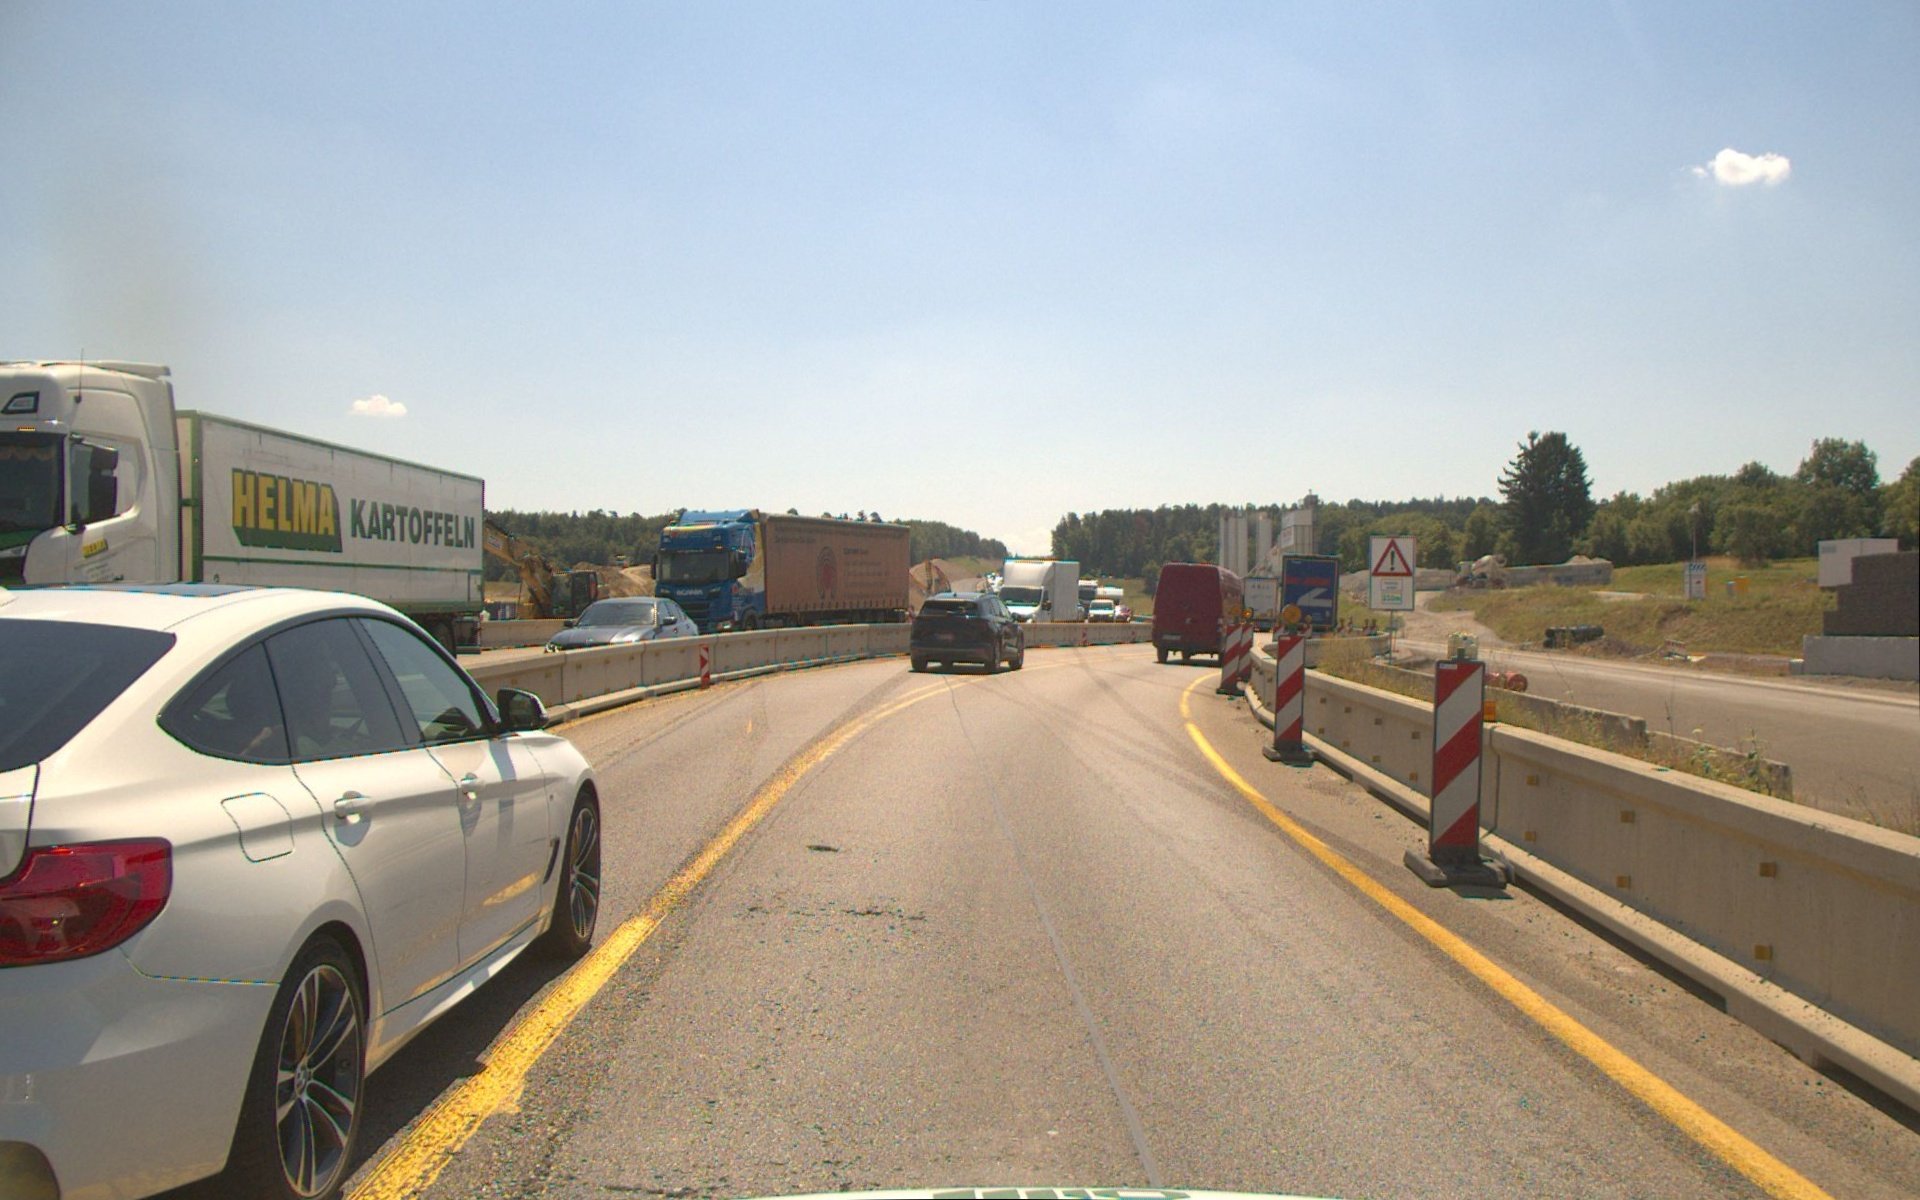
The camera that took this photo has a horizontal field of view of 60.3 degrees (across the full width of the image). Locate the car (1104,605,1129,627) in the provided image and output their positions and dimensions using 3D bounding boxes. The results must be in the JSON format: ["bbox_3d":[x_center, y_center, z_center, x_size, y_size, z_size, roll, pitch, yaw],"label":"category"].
[{"bbox_3d":[12.192,1.235,128.471,1.683,1.656,4.339,1,0,8],"label":"car"}]

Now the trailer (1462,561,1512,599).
[{"bbox_3d":[59.494,-2.255,186.804,2.705,4.186,6.732,1,0,-9],"label":"trailer"}]

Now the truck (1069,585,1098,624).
[{"bbox_3d":[13.208,0.467,176.305,2.644,4.133,5.505,1,0,8],"label":"truck"}]

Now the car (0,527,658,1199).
[{"bbox_3d":[-2.306,0.689,5.124,1.758,1.561,5.073,-1,0,0],"label":"car"}]

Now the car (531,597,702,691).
[{"bbox_3d":[-5.998,0.728,29.428,1.717,1.504,4.539,1,0,5],"label":"car"}]

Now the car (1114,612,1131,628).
[{"bbox_3d":[16.882,2.042,172.054,1.625,1.633,4.399,1,0,7],"label":"car"}]

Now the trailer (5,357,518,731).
[{"bbox_3d":[-9.632,-0.632,25.102,2.305,4.224,12.499,1,0,1],"label":"trailer"}]

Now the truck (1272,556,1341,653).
[{"bbox_3d":[16.124,0.222,77.081,2.951,4.225,8.279,1,0,12],"label":"truck"}]

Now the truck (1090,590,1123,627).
[{"bbox_3d":[12.773,0.712,144.439,2.391,3.125,7.249,1,0,1],"label":"truck"}]

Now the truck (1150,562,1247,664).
[{"bbox_3d":[6.863,0.353,47.057,2.067,2.679,6.489,1,0,14],"label":"truck"}]

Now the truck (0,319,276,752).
[{"bbox_3d":[-9.746,-0.621,18.093,2.398,4.078,5.076,1,0,-1],"label":"truck"}]

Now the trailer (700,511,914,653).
[{"bbox_3d":[-4.779,-0.527,55.910,2.532,4.224,13.072,1,0,16],"label":"trailer"}]

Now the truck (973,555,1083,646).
[{"bbox_3d":[2.812,0.030,65.912,2.525,3.440,6.930,1,0,18],"label":"truck"}]

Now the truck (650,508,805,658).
[{"bbox_3d":[-6.752,-0.484,48.768,2.490,4.152,5.549,1,0,15],"label":"truck"}]

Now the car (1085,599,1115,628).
[{"bbox_3d":[9.928,0.940,117.101,1.826,1.988,4.896,1,0,8],"label":"car"}]

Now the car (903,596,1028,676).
[{"bbox_3d":[0.189,0.716,34.902,1.757,1.561,3.934,1,0,14],"label":"car"}]

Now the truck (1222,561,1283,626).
[{"bbox_3d":[22.442,-0.502,127.473,3.606,4.774,9.757,1,0,4],"label":"truck"}]

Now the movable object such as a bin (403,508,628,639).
[{"bbox_3d":[-15.937,-0.885,60.255,2.864,4.405,9.324,1,0,22],"label":"movable object such as a bin"}]
